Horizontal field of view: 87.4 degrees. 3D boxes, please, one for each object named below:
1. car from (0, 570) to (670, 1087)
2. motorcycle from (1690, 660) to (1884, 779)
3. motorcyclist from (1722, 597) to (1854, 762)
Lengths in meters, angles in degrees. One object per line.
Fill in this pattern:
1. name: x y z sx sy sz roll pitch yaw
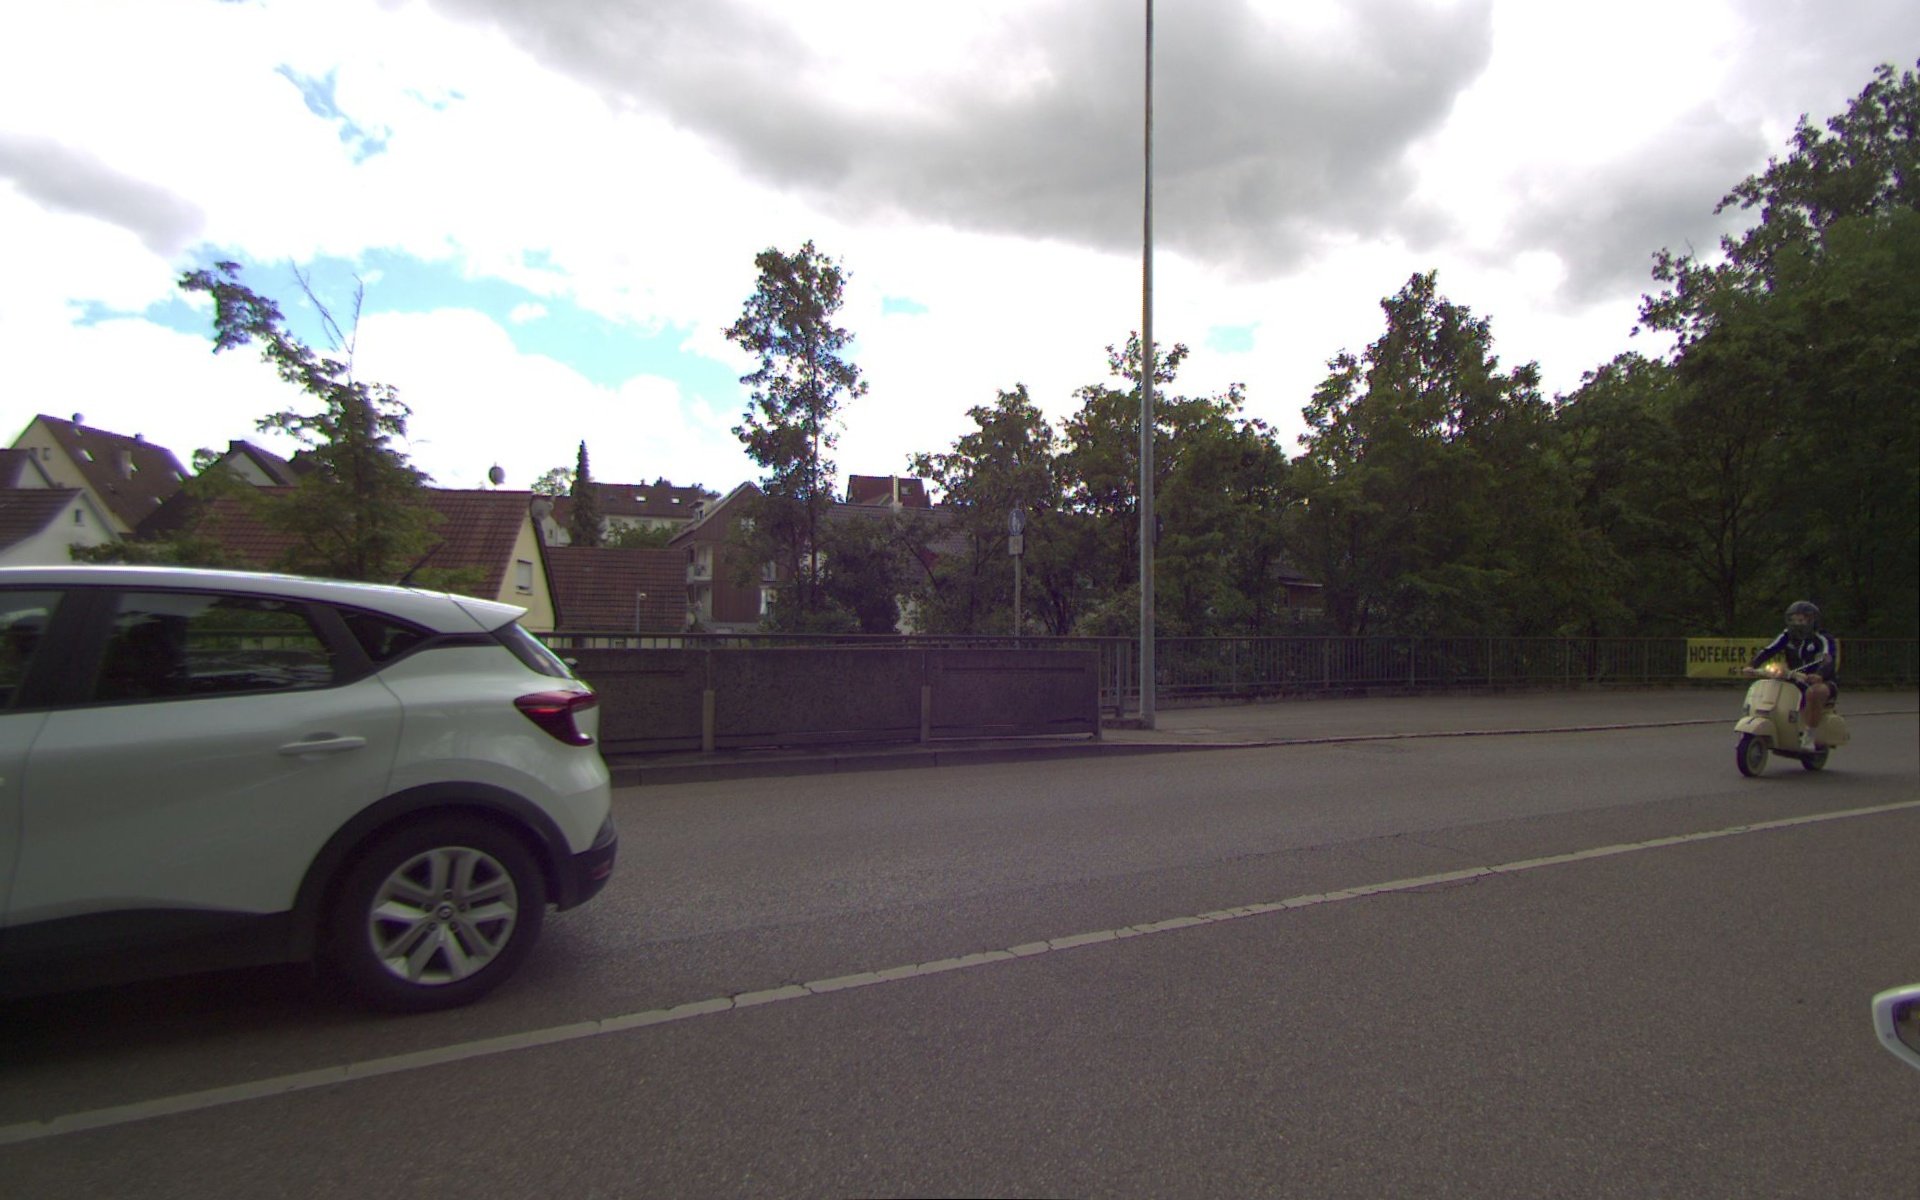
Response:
1. car: -3.263 0.669 3.652 3.953 1.499 1.759 1 -1 -30
2. motorcycle: 8.237 1.145 10.000 1.861 1.047 0.743 1 -1 -24
3. motorcyclist: 8.242 0.766 10.014 0.779 1.559 0.743 1 -1 -23
